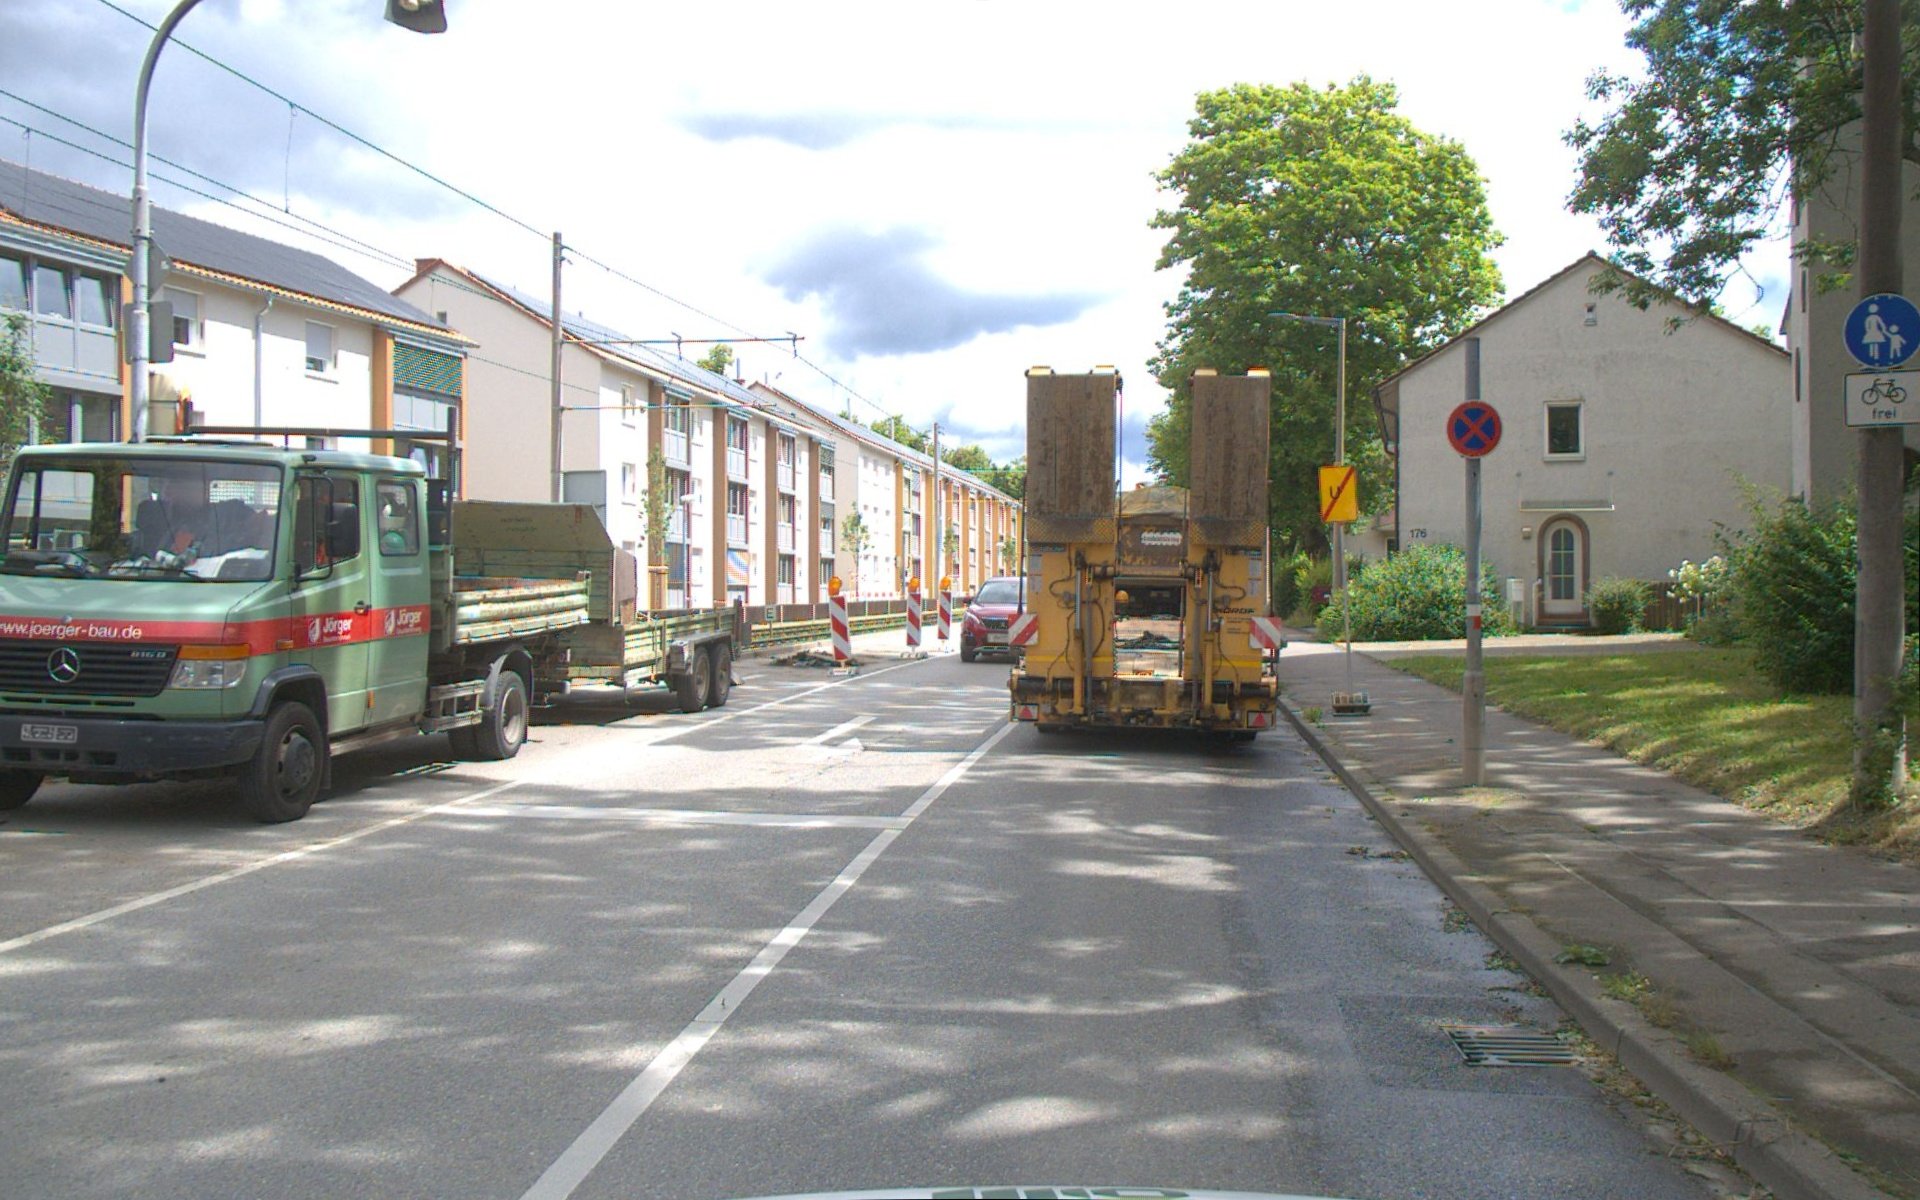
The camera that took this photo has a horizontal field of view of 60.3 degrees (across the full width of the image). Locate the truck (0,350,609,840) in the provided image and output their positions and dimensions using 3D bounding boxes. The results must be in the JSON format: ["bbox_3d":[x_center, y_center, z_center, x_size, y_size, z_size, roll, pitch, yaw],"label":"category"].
[{"bbox_3d":[-5.046,-0.075,12.709,2.605,2.773,6.400,1,0,7],"label":"truck"}]

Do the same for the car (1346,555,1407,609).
[{"bbox_3d":[13.696,-0.566,54.324,1.773,1.678,4.002,-1,0,16],"label":"car"}]

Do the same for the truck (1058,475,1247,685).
[{"bbox_3d":[3.542,-0.348,29.817,2.855,3.222,7.686,2,1,8],"label":"truck"}]

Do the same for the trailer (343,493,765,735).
[{"bbox_3d":[-4.275,0.103,18.967,2.605,2.252,6.253,1,0,7],"label":"trailer"}]

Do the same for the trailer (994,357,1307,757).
[{"bbox_3d":[2.332,-0.463,20.538,2.763,3.585,11.060,1,1,6],"label":"trailer"}]

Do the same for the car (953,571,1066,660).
[{"bbox_3d":[1.057,0.292,33.153,1.803,1.646,4.245,0,0,8],"label":"car"}]
